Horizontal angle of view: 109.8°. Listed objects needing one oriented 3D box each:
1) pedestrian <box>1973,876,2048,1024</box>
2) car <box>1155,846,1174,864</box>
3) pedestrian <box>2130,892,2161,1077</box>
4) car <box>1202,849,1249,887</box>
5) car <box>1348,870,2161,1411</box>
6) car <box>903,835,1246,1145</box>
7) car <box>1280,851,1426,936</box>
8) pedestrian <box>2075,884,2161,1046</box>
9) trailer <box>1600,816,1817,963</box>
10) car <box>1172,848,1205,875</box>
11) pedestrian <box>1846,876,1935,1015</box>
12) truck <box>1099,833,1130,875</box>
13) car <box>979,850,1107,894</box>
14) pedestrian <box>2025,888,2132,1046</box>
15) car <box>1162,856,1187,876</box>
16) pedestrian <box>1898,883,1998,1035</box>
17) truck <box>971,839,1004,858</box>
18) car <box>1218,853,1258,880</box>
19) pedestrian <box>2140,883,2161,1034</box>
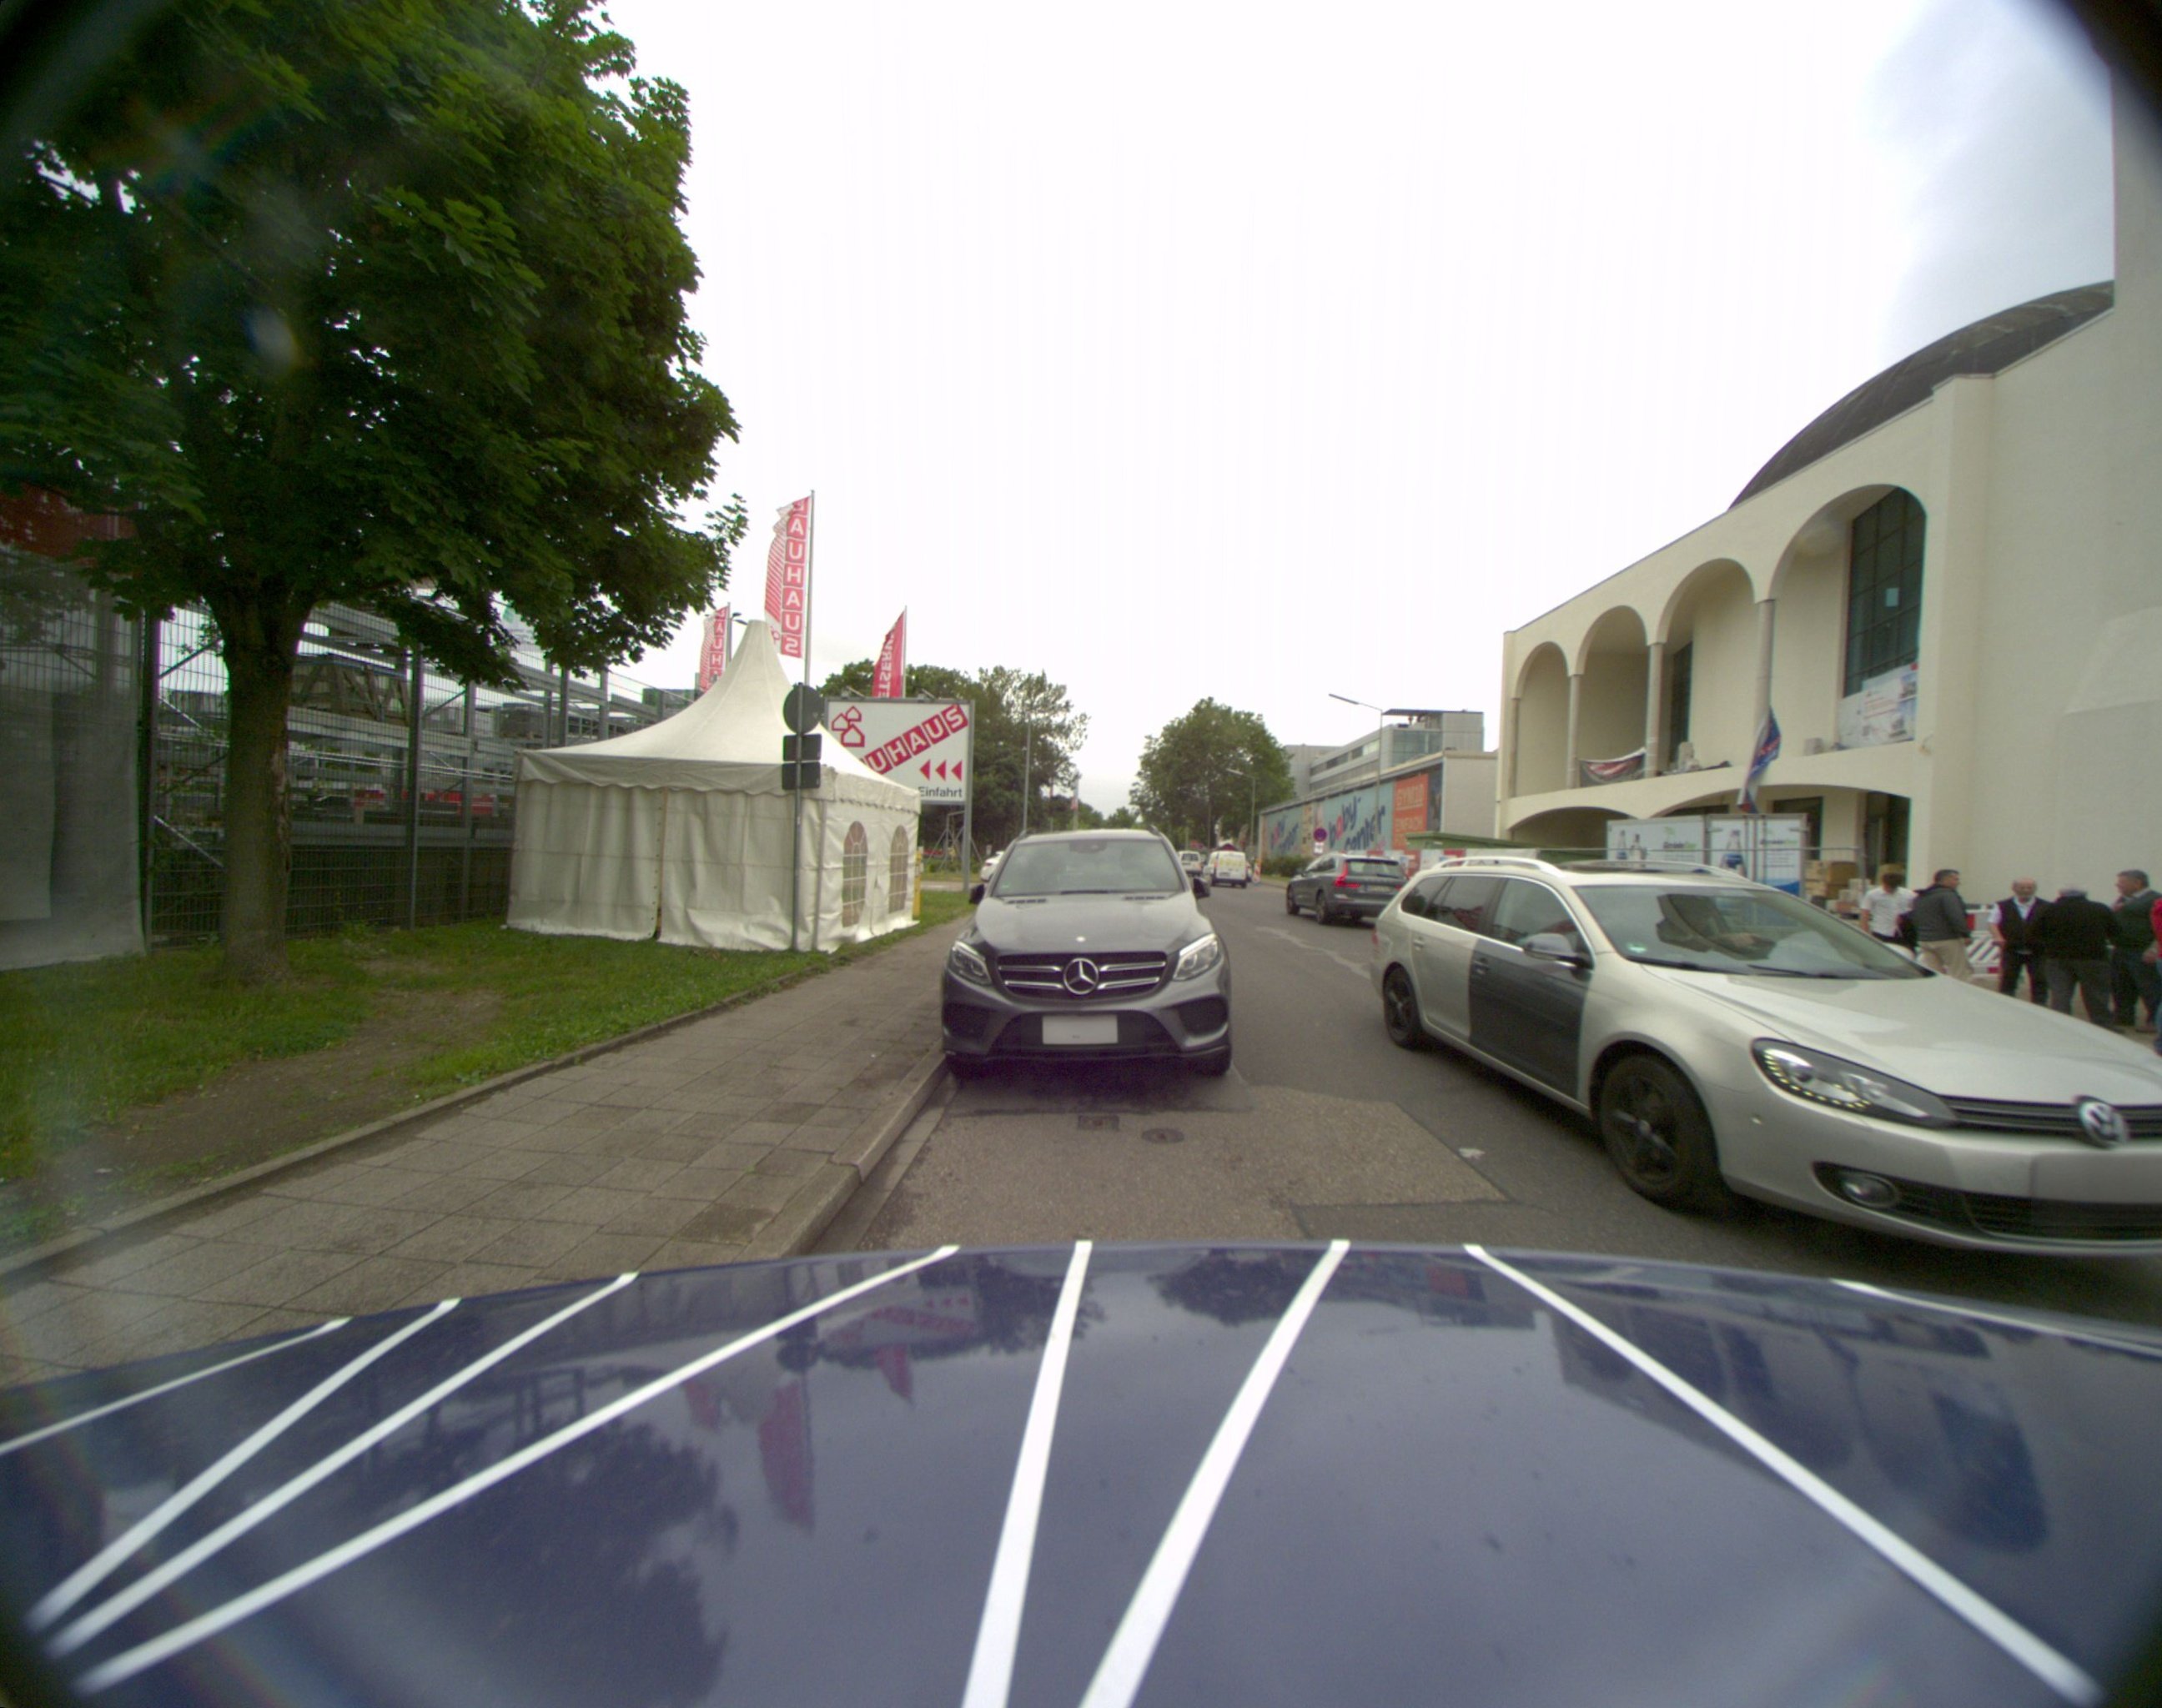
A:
[{"bbox_3d":[11.351,1.136,9.283,0.492,1.738,0.527,1,-2,-38],"label":"pedestrian"},{"bbox_3d":[9.887,0.120,89.938,1.931,2.002,4.955,2,1,3],"label":"car"},{"bbox_3d":[10.144,1.191,6.886,0.533,1.682,0.513,0,-2,-9],"label":"pedestrian"},{"bbox_3d":[7.308,0.673,38.790,1.693,1.751,4.135,2,1,2],"label":"car"},{"bbox_3d":[3.204,0.913,4.390,1.757,1.443,4.296,2,1,0],"label":"car"},{"bbox_3d":[0.083,0.761,6.524,1.913,1.731,4.481,-1,0,3],"label":"car"},{"bbox_3d":[6.288,0.820,18.177,1.938,1.674,4.495,3,1,2],"label":"car"},{"bbox_3d":[11.334,1.167,8.232,0.411,1.682,0.572,0,-2,-27],"label":"pedestrian"},{"bbox_3d":[12.456,0.629,15.369,1.802,2.592,3.192,3,1,6],"label":"trailer"},{"bbox_3d":[7.858,0.510,55.892,1.799,1.797,4.383,3,1,2],"label":"car"},{"bbox_3d":[10.665,1.171,10.023,0.492,1.738,0.690,0,-2,-33],"label":"pedestrian"},{"bbox_3d":[2.137,-0.018,49.084,1.852,2.597,4.000,-1,1,2],"label":"truck"},{"bbox_3d":[-1.373,0.620,27.753,4.493,1.420,1.938,1,2,-3],"label":"car"},{"bbox_3d":[10.686,1.173,8.157,0.570,1.601,0.492,-2,-2,41],"label":"pedestrian"},{"bbox_3d":[8.030,1.028,65.340,1.733,1.562,3.947,4,1,3],"label":"car"},{"bbox_3d":[10.455,1.226,9.172,0.492,1.738,0.690,0,-2,-33],"label":"pedestrian"},{"bbox_3d":[-12.473,-0.676,101.962,1.994,2.383,4.009,3,1,42],"label":"truck"},{"bbox_3d":[10.470,0.824,51.041,1.928,1.565,4.150,5,1,3],"label":"car"},{"bbox_3d":[12.040,1.152,8.299,0.541,1.603,0.489,-6,5,-37],"label":"pedestrian"}]
